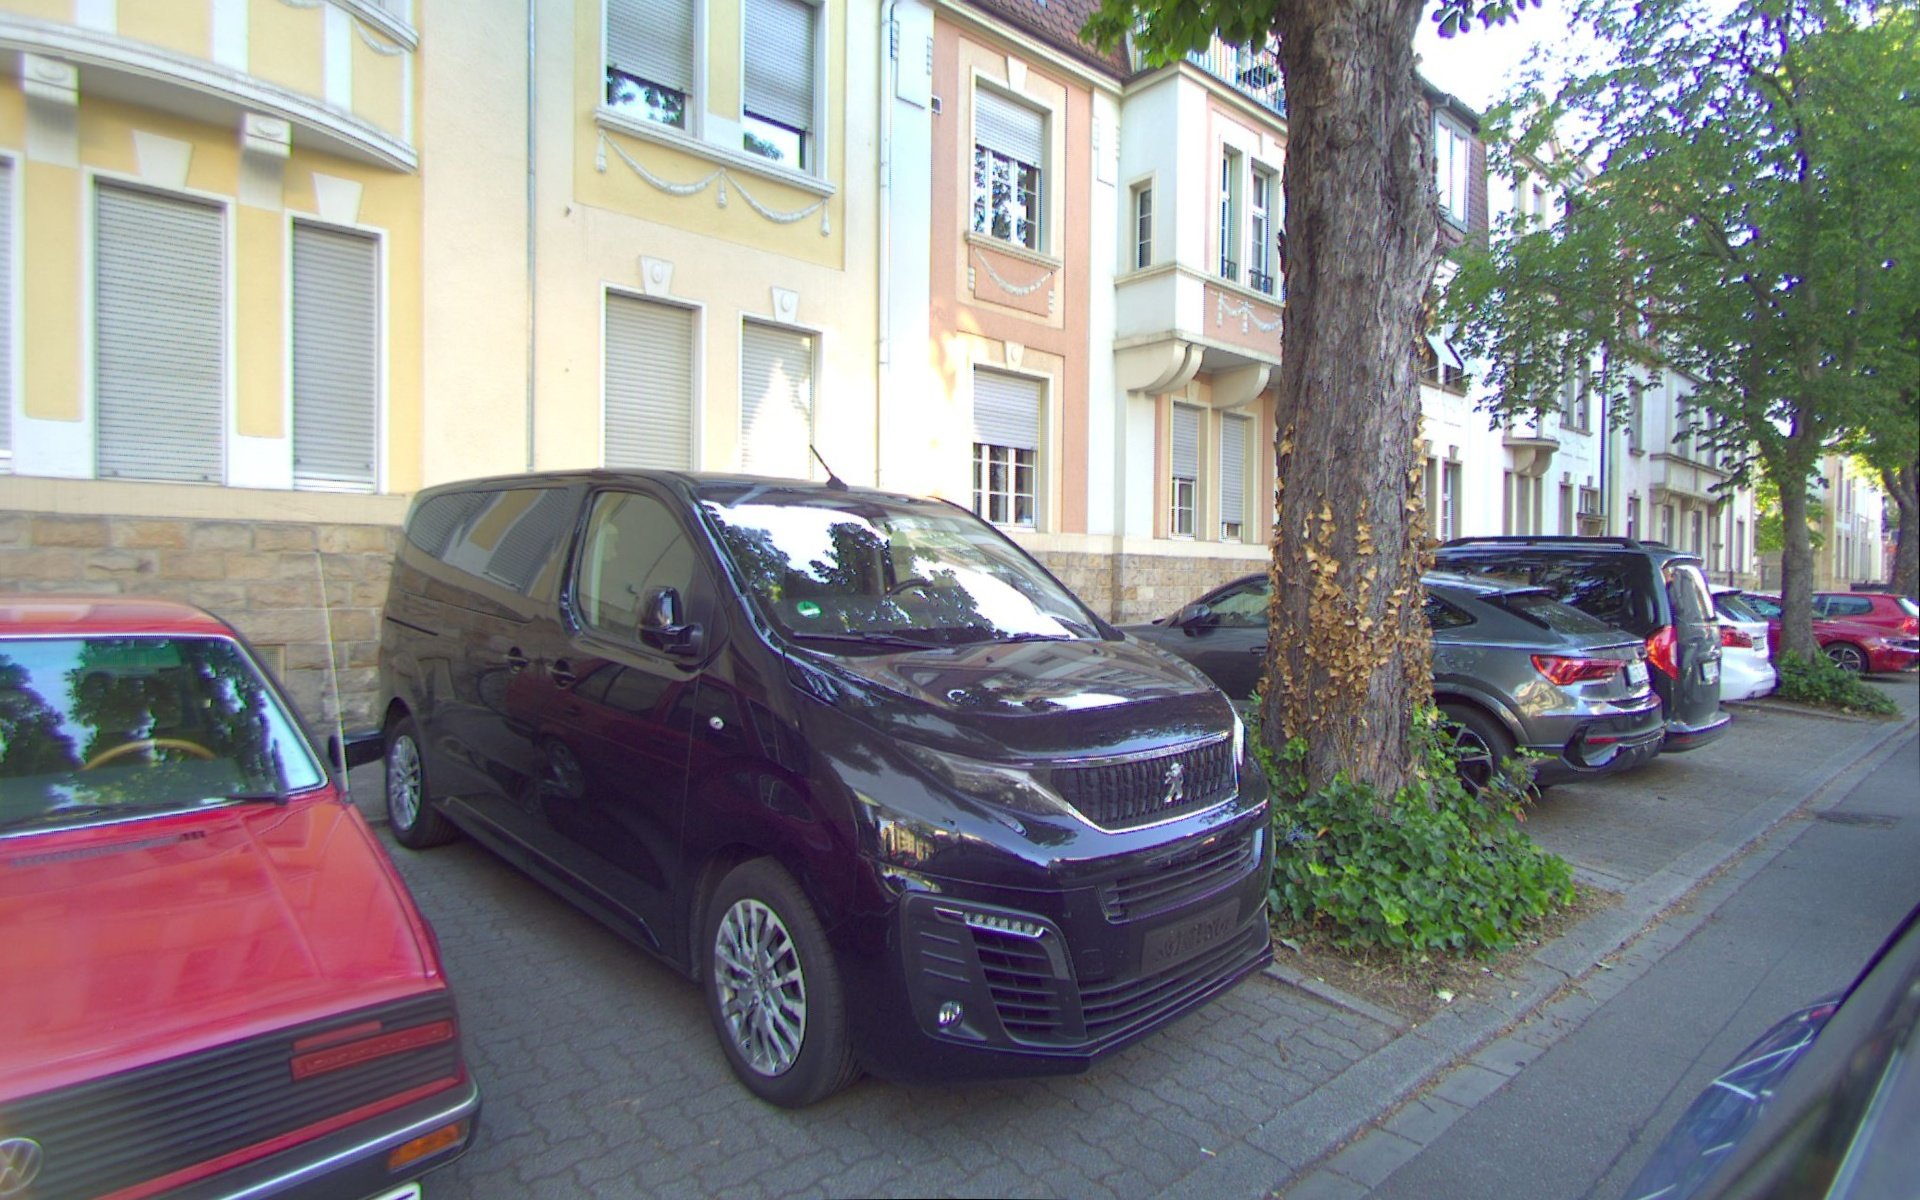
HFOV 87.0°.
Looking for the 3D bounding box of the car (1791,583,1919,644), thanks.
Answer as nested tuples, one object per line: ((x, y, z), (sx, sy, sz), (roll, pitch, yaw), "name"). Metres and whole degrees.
((23.976, 0.340, 26.159), (1.511, 1.420, 3.621), (0, 3, -40), "car")

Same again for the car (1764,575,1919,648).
((21.619, 0.236, 24.089), (1.511, 1.584, 3.621), (0, 2, -40), "car")

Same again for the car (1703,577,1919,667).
((16.861, 0.375, 19.667), (1.511, 1.482, 3.621), (0, 3, -40), "car")

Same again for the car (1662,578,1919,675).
((14.921, 0.391, 18.071), (1.511, 1.420, 3.621), (0, 3, -40), "car")

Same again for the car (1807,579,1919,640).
((25.945, 0.258, 27.998), (1.511, 1.584, 3.621), (0, 2, -40), "car")

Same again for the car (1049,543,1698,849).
((2.769, 0.426, 7.529), (1.569, 1.611, 4.165), (-1, 4, -44), "car")

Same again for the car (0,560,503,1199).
((-2.803, 0.600, 2.961), (1.532, 1.336, 3.917), (-1, 4, -43), "car")

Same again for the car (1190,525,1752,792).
((4.298, 0.280, 9.039), (1.569, 1.849, 4.165), (-1, 4, -44), "car")

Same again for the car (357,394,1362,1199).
((-0.993, 0.343, 4.527), (1.851, 1.846, 4.825), (-1, 4, -44), "car")

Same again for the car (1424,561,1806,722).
((7.794, 0.376, 12.272), (1.513, 1.569, 3.616), (-1, 3, -45), "car")
